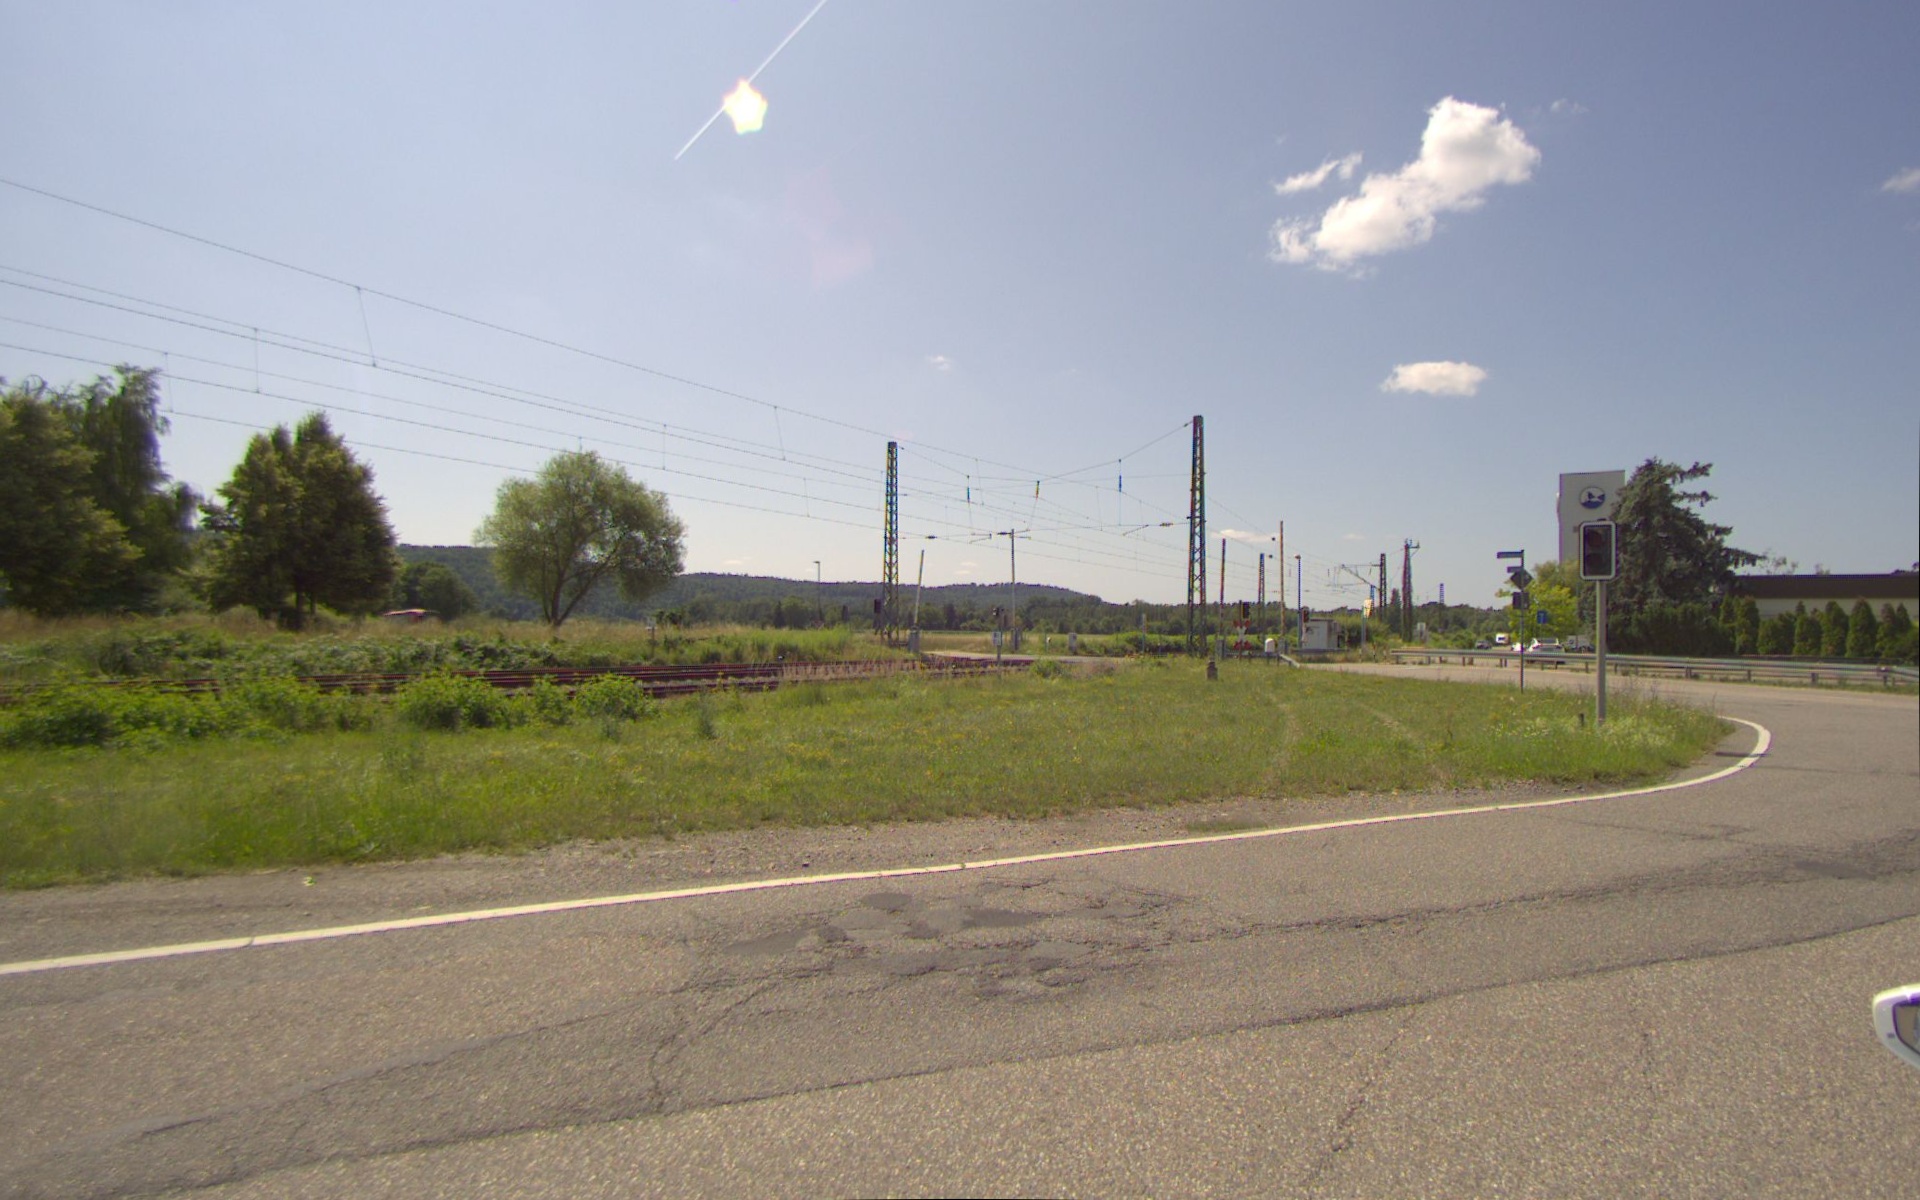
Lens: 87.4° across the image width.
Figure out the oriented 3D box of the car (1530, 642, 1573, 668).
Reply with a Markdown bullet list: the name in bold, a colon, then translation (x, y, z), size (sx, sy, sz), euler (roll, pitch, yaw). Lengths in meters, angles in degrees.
- **car**: translation (36.844, 3.393, 62.642), size (1.963, 1.530, 4.450), euler (0, -2, 26)
